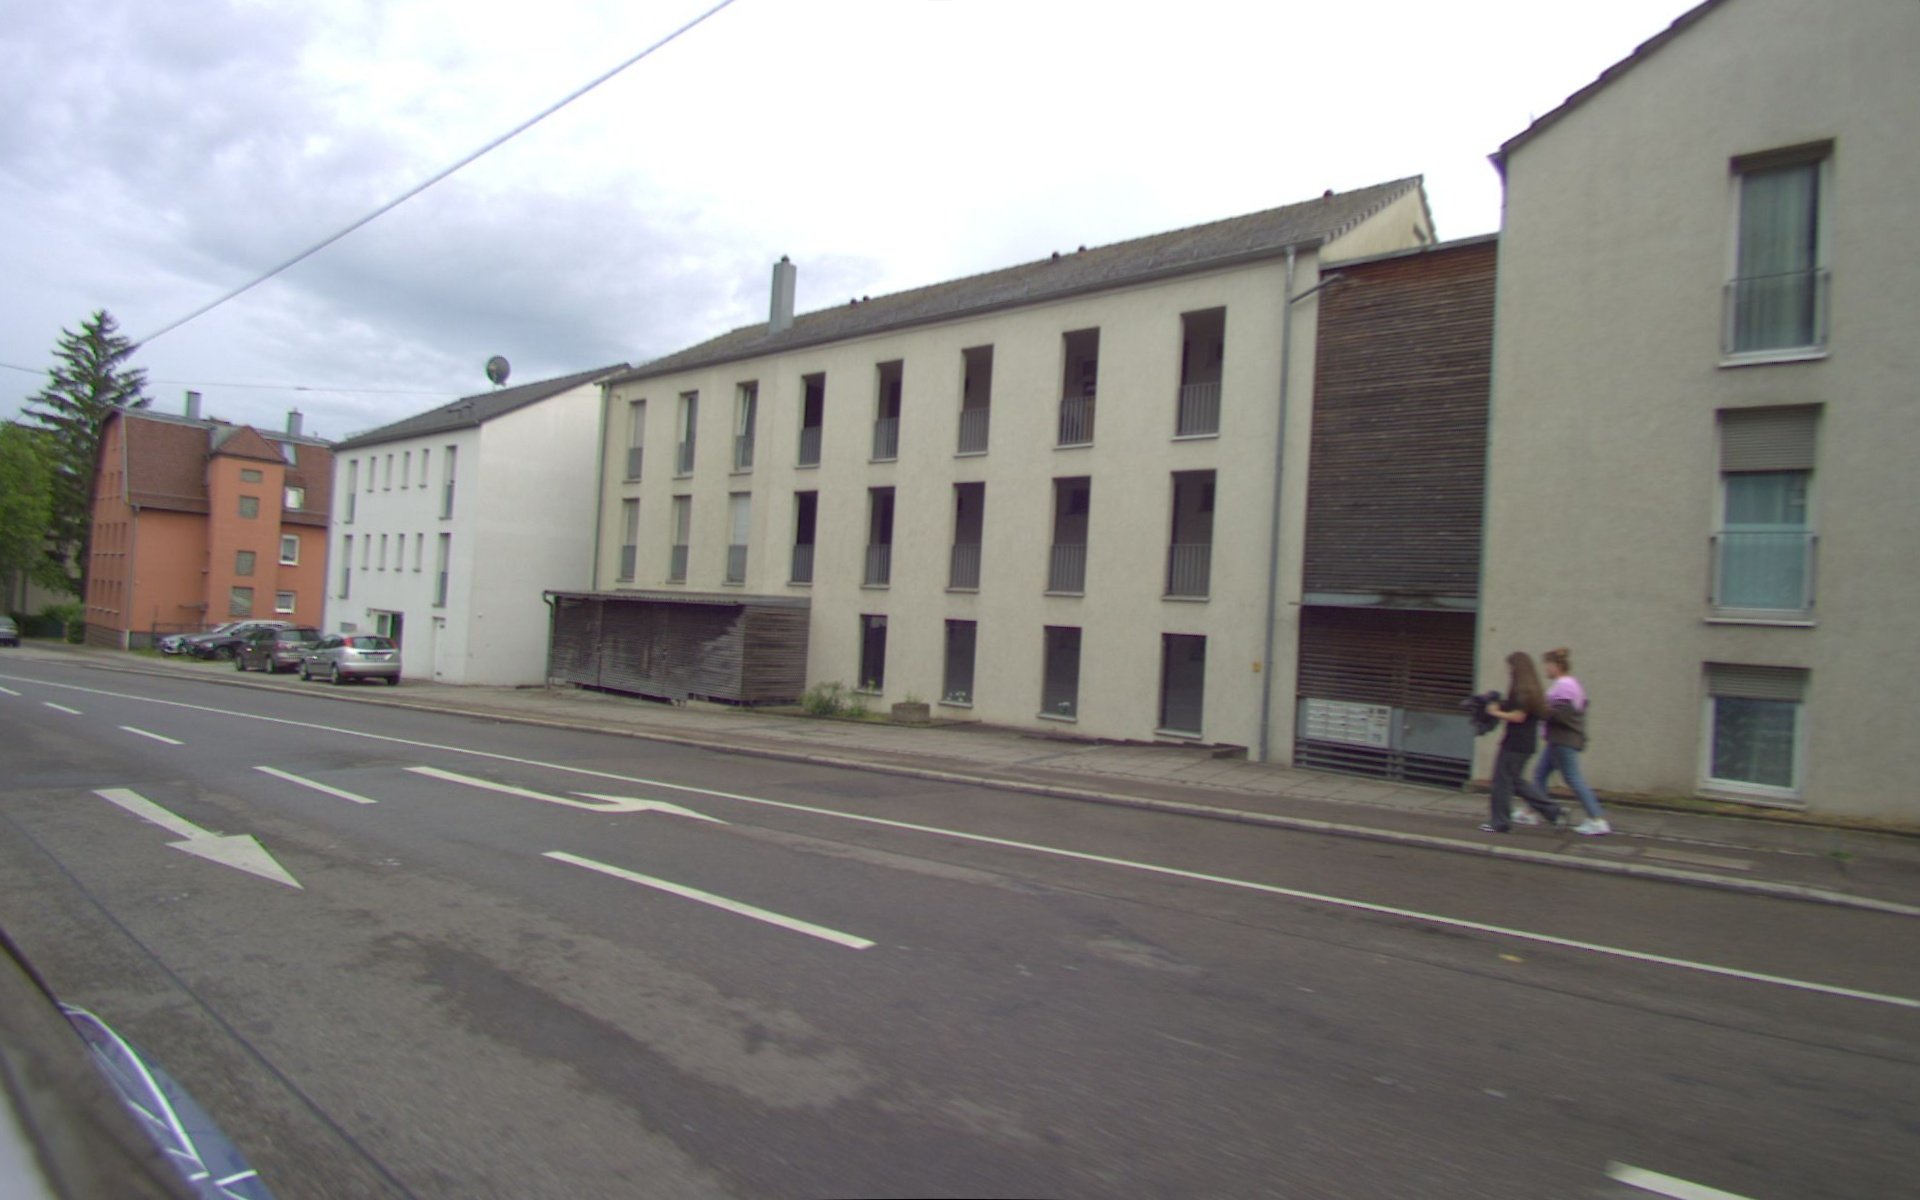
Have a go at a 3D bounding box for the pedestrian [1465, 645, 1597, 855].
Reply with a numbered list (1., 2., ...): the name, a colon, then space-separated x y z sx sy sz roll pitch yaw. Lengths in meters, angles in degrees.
1. pedestrian: 5.046 1.272 8.955 0.911 1.719 0.633 -1 -4 41

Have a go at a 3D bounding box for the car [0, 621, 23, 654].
1. car: -45.281 1.666 47.016 4.192 1.421 1.768 0 -6 38

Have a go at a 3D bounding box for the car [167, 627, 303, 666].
1. car: -31.764 2.030 44.411 2.152 1.621 4.483 -1 -3 42

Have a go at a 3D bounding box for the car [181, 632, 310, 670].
1. car: -29.827 2.140 42.333 1.895 1.475 4.082 -1 -3 41

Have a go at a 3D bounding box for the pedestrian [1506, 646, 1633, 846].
1. pedestrian: 5.634 1.302 9.362 0.911 1.719 0.633 -1 -4 41

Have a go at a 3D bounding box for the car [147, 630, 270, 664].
1. car: -33.906 2.102 45.746 2.000 1.444 4.117 -1 -3 42

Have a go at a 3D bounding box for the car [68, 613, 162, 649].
1. car: -51.025 1.865 61.165 1.998 2.029 3.948 0 -3 39

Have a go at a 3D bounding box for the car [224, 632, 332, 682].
1. car: -23.208 1.904 34.392 4.075 1.564 1.729 0 -2 36

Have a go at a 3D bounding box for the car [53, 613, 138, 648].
1. car: -54.152 1.927 63.429 3.939 2.029 2.002 4 -3 -43

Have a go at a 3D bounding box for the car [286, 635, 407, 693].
1. car: -18.077 1.867 29.743 4.175 1.519 1.727 -1 -5 40
